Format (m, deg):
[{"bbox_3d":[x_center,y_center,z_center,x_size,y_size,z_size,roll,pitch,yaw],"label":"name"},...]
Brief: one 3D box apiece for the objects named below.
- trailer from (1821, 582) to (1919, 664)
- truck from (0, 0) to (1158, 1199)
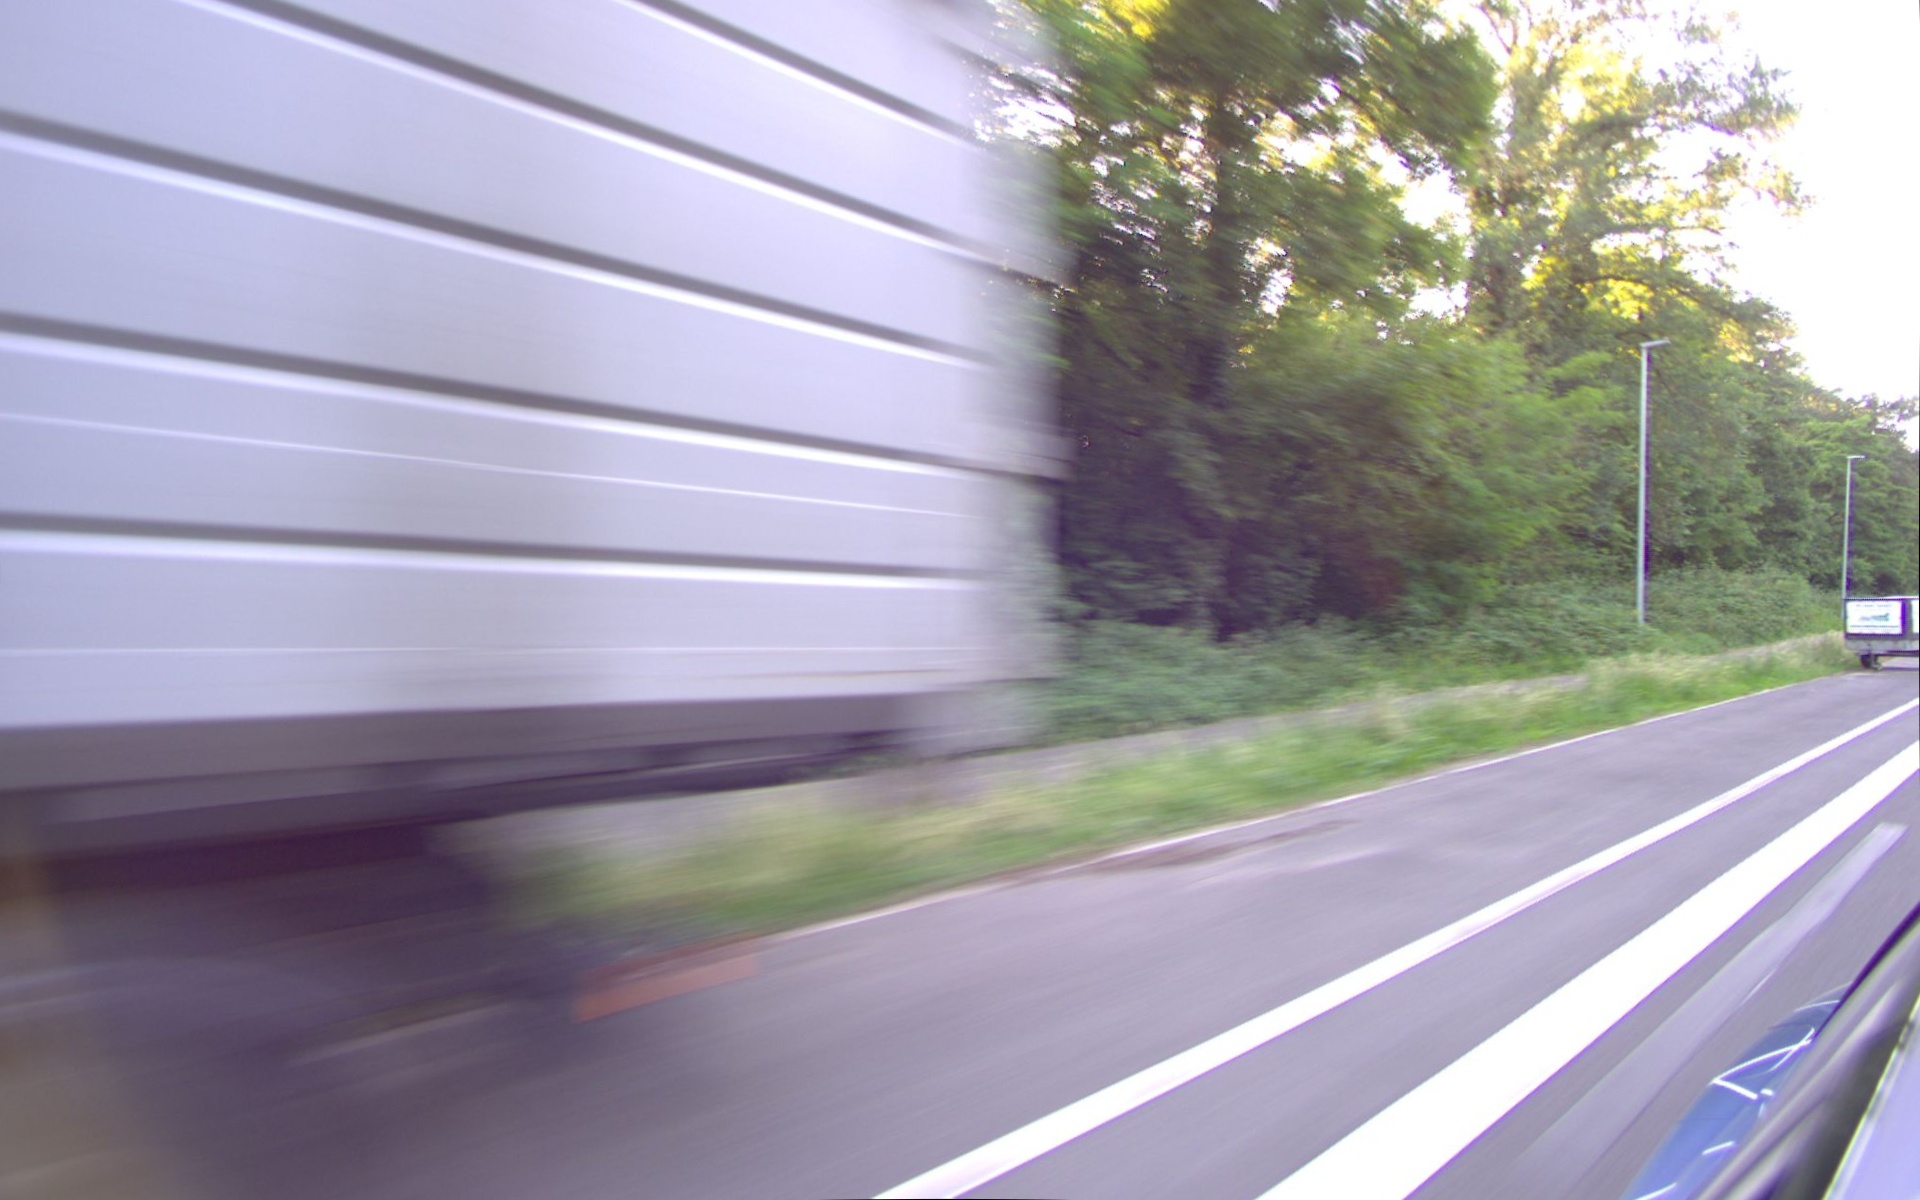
[{"bbox_3d":[21.107,0.487,22.422,3.697,1.682,1.464,0,2,-21],"label":"trailer"},{"bbox_3d":[-3.021,-0.240,1.497,7.091,3.296,2.594,-1,0,-39],"label":"truck"}]
